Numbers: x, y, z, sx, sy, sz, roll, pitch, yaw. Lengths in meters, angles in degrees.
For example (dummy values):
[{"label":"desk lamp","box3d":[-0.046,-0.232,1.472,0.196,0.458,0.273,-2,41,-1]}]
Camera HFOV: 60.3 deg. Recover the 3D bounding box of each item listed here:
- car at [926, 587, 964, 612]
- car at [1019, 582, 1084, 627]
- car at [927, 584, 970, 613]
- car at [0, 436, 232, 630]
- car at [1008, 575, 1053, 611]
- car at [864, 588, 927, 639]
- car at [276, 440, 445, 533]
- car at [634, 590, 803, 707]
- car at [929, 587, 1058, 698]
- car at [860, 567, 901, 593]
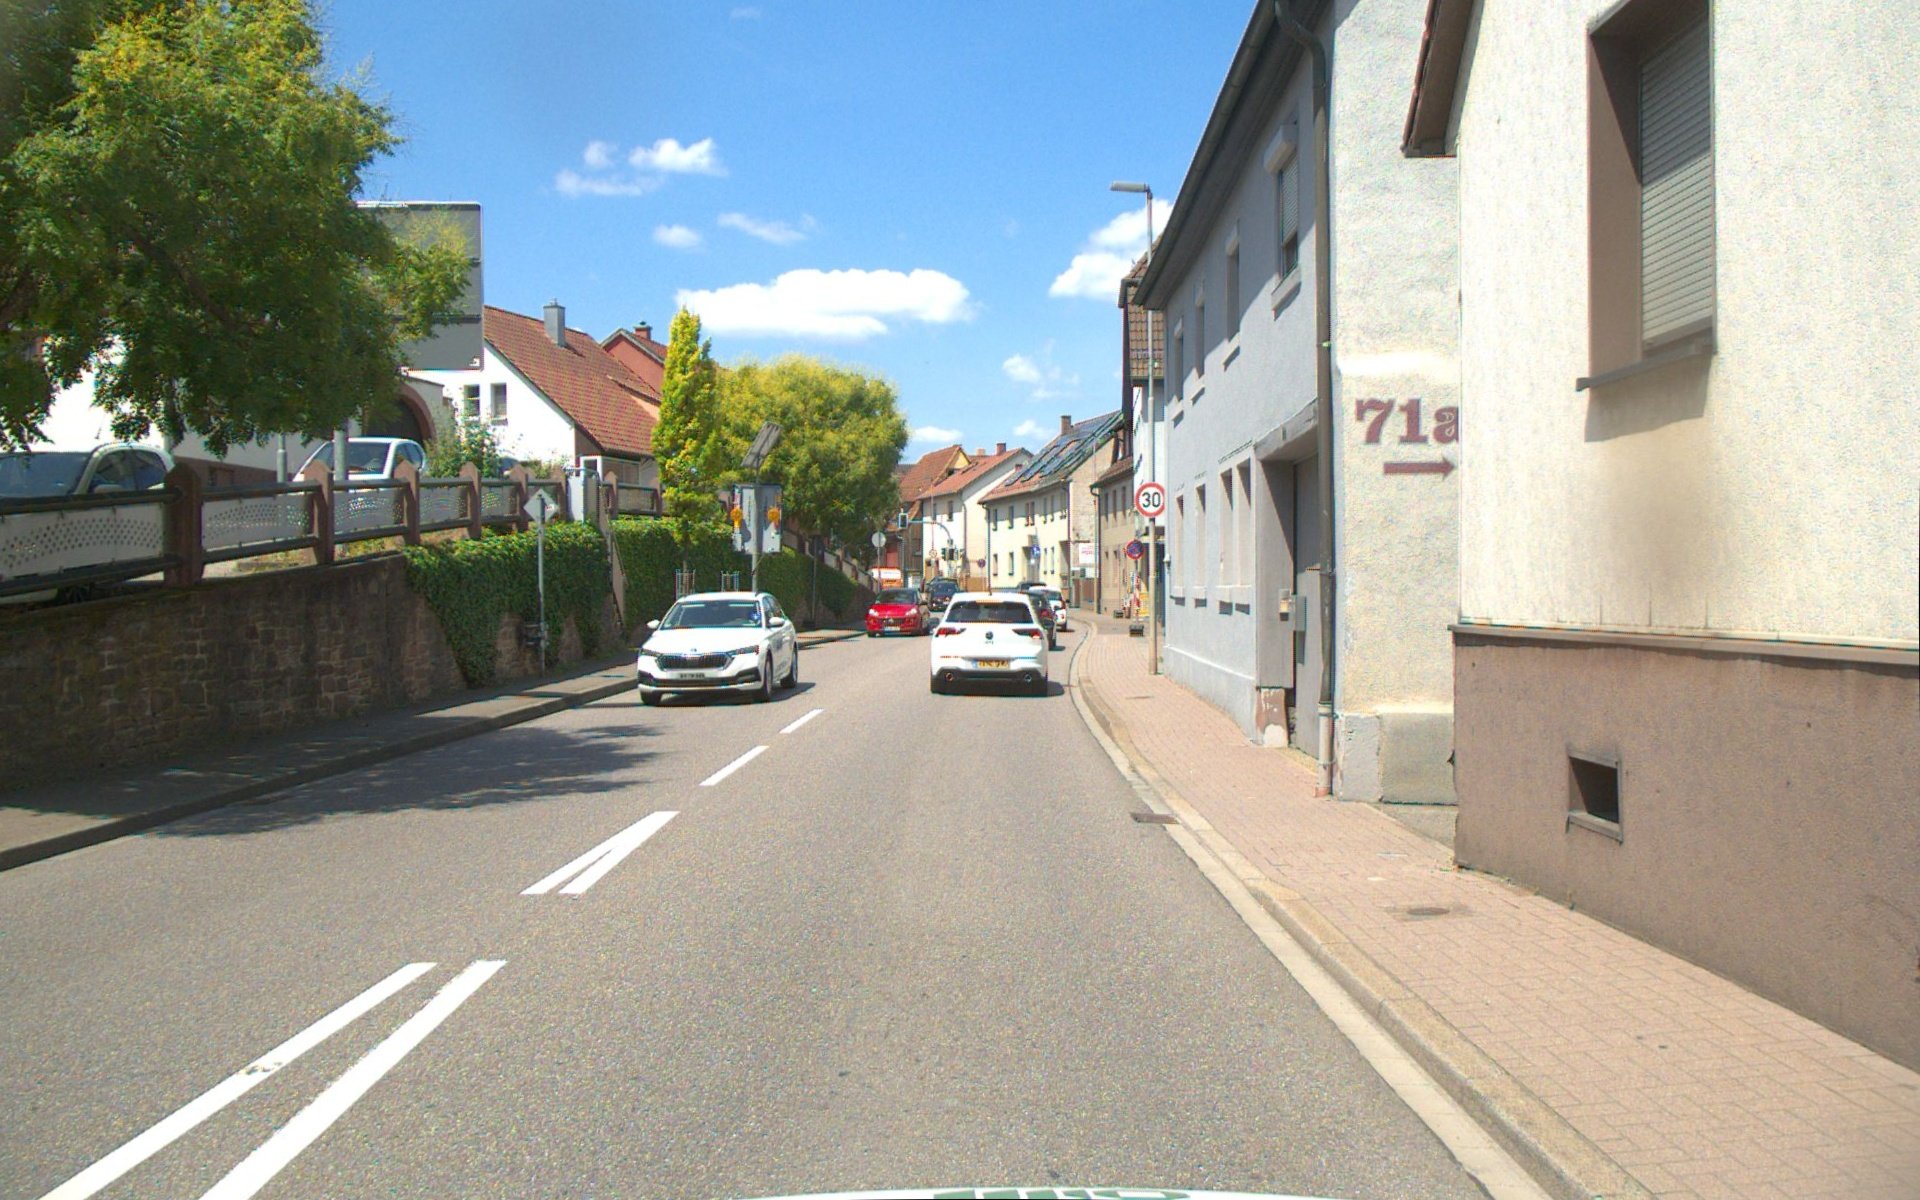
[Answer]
[{"label":"car","box3d":[-0.971,-0.046,104.251,1.744,1.565,3.989,0,1,-11]},{"label":"car","box3d":[3.235,0.150,57.815,1.769,1.493,4.003,1,0,10]},{"label":"car","box3d":[-0.538,-0.083,82.854,1.756,1.401,4.119,0,1,5]},{"label":"car","box3d":[-8.521,-0.738,15.652,1.660,1.569,3.856,0,6,-3]},{"label":"car","box3d":[3.213,-0.333,75.854,1.739,1.565,3.999,0,1,-2]},{"label":"car","box3d":[-1.978,0.402,51.643,1.583,1.469,3.803,-2,0,3]},{"label":"car","box3d":[-9.880,-1.940,27.529,1.545,1.385,3.856,0,6,-3]},{"label":"car","box3d":[-3.349,0.621,23.763,1.776,1.472,4.430,-2,0,-1]},{"label":"car","box3d":[0.440,0.588,25.064,1.771,1.493,3.999,1,0,-1]},{"label":"car","box3d":[-5.681,-1.399,117.653,1.751,1.796,3.973,0,1,-22]}]
